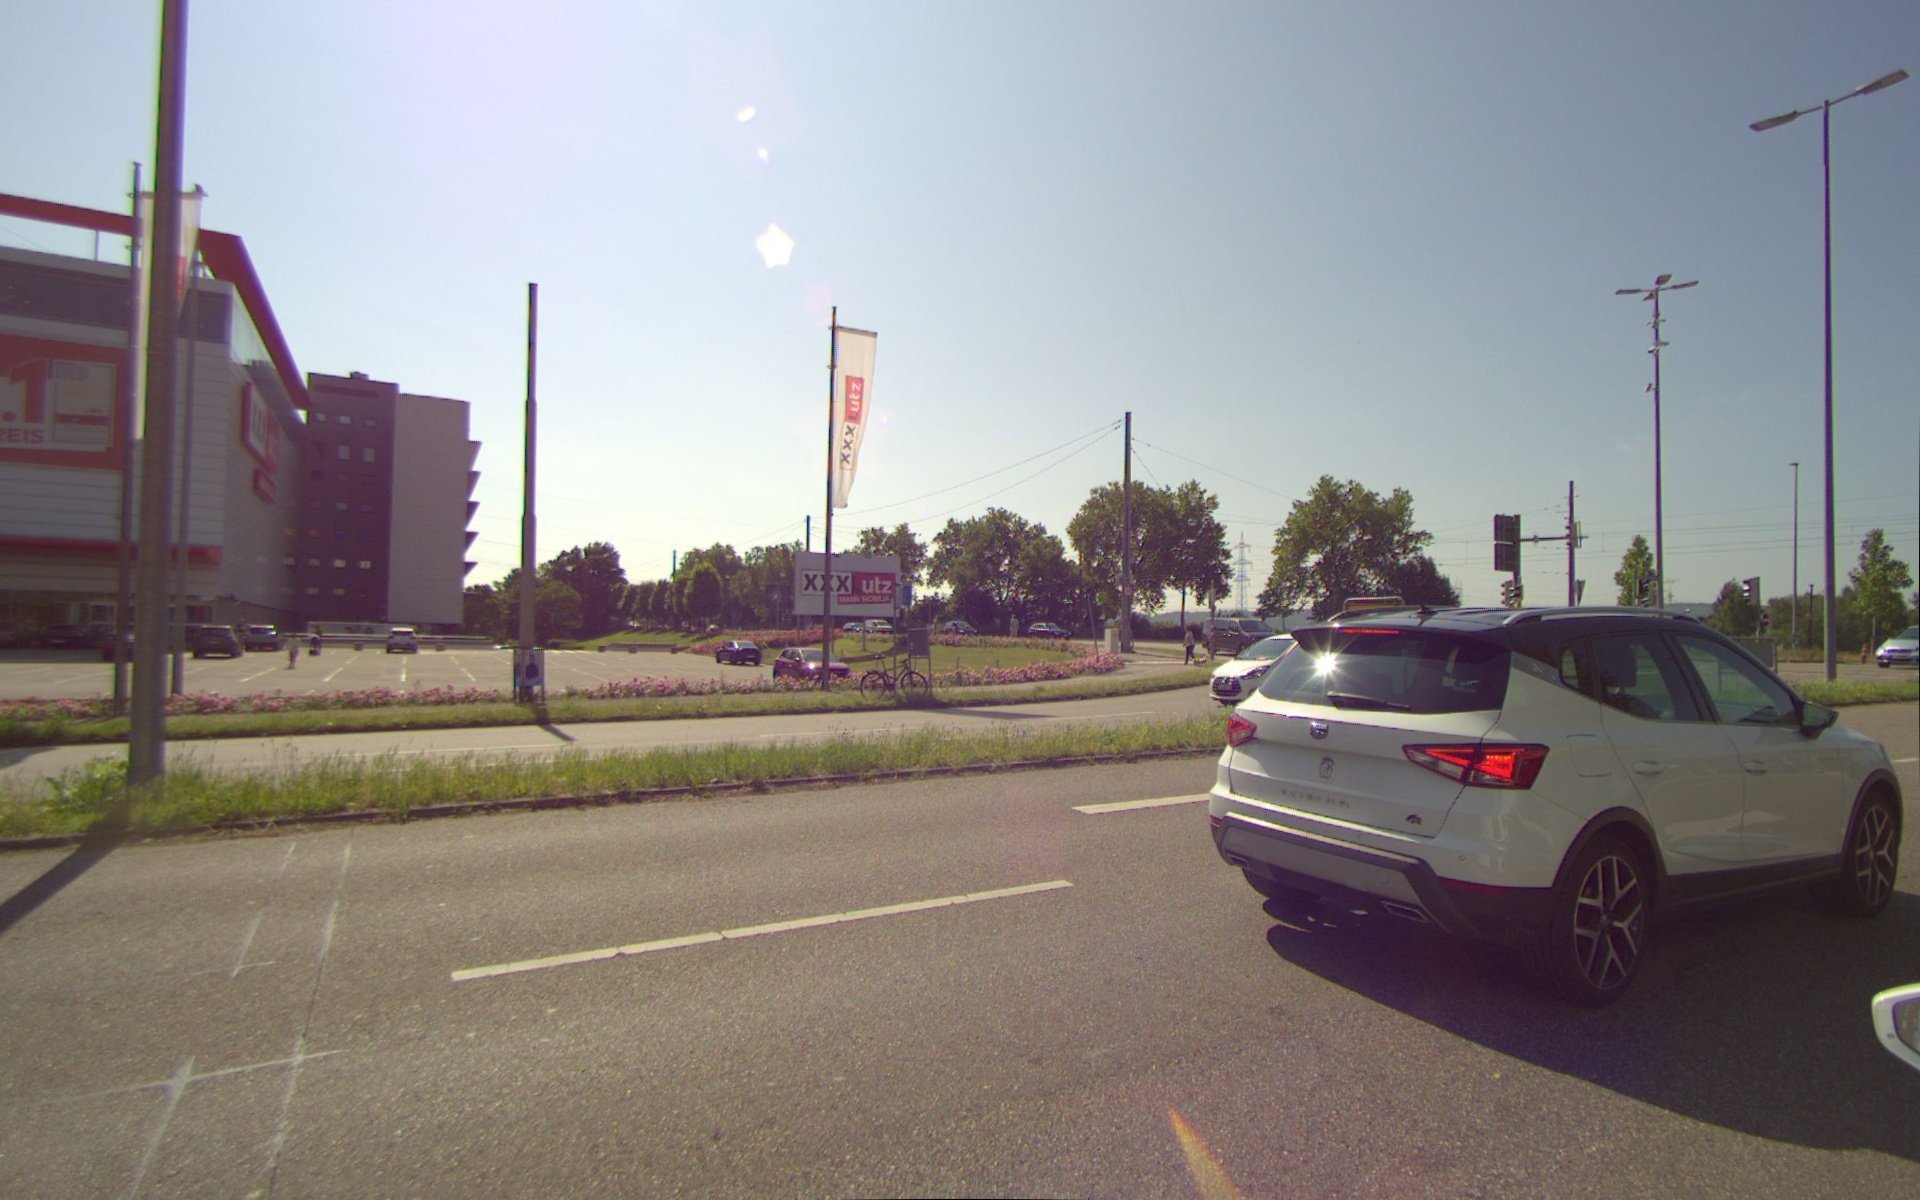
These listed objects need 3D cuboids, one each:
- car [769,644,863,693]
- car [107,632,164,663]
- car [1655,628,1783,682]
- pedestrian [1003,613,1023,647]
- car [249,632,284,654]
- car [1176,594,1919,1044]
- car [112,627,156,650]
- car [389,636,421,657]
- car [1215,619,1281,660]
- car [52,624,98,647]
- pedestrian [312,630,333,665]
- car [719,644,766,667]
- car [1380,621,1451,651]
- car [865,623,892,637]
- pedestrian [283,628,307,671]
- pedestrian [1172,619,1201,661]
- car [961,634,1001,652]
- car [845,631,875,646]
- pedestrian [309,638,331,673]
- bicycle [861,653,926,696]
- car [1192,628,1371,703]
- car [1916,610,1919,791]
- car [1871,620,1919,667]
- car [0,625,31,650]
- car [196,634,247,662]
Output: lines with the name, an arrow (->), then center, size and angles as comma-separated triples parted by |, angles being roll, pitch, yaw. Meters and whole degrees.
car -> -5.361, 2.500, 37.052 | 1.808, 1.626, 4.158 | 3, -3, -33
car -> -38.498, 2.216, 46.961 | 1.498, 1.347, 3.073 | 3, -3, -30
car -> 15.180, 1.086, 20.081 | 2.461, 1.017, 1.113 | 1, -2, -28
pedestrian -> 3.209, 1.809, 60.650 | 0.905, 1.997, 0.714 | 3, -2, -25
car -> -43.336, 2.677, 62.838 | 1.498, 1.347, 3.073 | 3, -3, -30
car -> 3.109, 0.760, 5.118 | 3.823, 1.518, 1.624 | -1, 0, -30
car -> -48.231, 2.249, 58.713 | 1.425, 1.241, 3.073 | 3, -3, -30
car -> -36.668, 3.052, 66.297 | 1.731, 1.347, 3.645 | 3, -3, -30
car -> 14.424, 1.942, 50.563 | 1.783, 1.951, 3.995 | 0, 0, -8
car -> -50.831, 2.029, 57.729 | 1.350, 1.283, 3.073 | 3, -3, -30
pedestrian -> -37.676, 2.801, 59.352 | 0.963, 2.040, 0.942 | 1, -3, -29
car -> -13.413, 3.397, 61.795 | 1.709, 1.347, 3.829 | 3, -3, -30
car -> 24.769, 1.954, 54.672 | 1.395, 1.519, 3.324 | 3, -3, -33
car -> -9.385, 3.442, 115.042 | 1.614, 1.646, 3.754 | 1, -2, -31
pedestrian -> -29.696, 2.223, 44.866 | 0.489, 1.919, 0.784 | 0, -3, 1
pedestrian -> 9.430, 1.660, 41.832 | 0.891, 1.729, 0.840 | 0, -2, -17
car -> 1.869, 3.806, 89.448 | 1.742, 1.540, 3.968 | 1, -3, -30
car -> -11.124, 4.244, 111.878 | 1.886, 1.593, 3.807 | 3, -3, -30
pedestrian -> -37.122, 3.205, 58.282 | 0.963, 2.040, 0.942 | 1, -3, -29
bicycle -> -1.611, 1.834, 24.676 | 1.626, 1.036, 0.328 | 4, -4, -33
car -> 7.379, 1.467, 22.930 | 4.044, 1.567, 1.783 | 2, -2, -34
car -> 10.626, 0.917, 9.210 | 4.126, 1.594, 1.697 | 1, -1, -31
car -> 35.601, 1.575, 37.184 | 3.869, 1.646, 1.620 | 0, -1, -30
car -> -53.986, 2.101, 56.740 | 1.498, 1.347, 3.073 | 3, -3, -30
car -> -38.355, 2.489, 52.232 | 1.758, 1.347, 3.073 | 3, -3, -30
